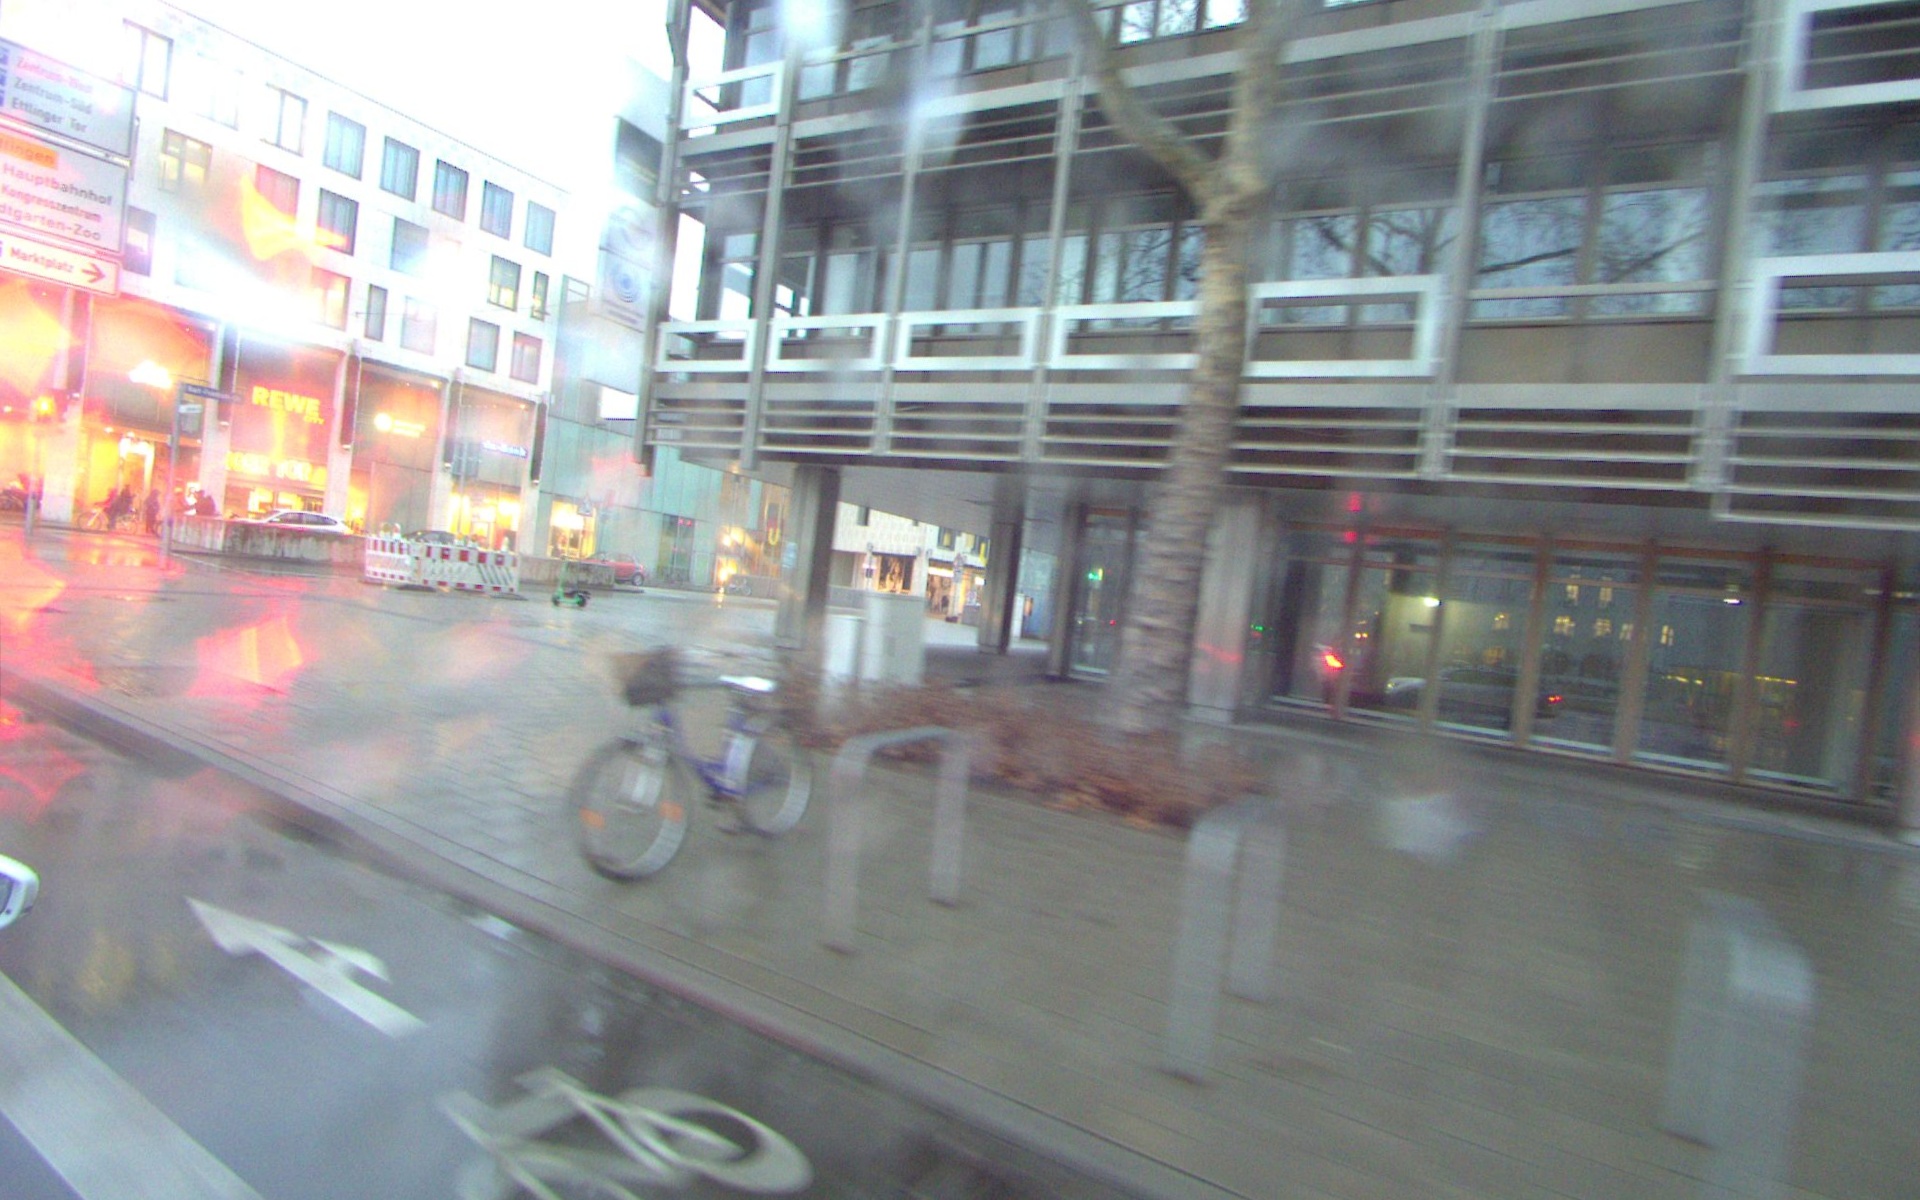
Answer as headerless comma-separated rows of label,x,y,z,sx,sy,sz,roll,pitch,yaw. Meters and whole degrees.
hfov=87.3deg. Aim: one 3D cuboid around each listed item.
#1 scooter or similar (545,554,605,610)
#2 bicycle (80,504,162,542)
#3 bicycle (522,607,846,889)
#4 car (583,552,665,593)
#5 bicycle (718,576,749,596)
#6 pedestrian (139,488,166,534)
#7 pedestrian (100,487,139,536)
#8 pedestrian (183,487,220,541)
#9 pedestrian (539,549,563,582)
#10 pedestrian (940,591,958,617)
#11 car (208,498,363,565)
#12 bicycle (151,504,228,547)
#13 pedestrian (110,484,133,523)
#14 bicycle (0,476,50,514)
scooter or similar,-8.897,-0.420,23.242,1.215,1.144,0.606,7,1,33
bicycle,-29.819,-2.716,35.797,0.532,1.003,2.133,7,-2,29
bicycle,-1.309,0.661,5.151,0.428,1.163,1.752,7,2,28
car,-16.623,-1.329,49.915,1.648,1.602,3.574,7,0,30
bicycle,-14.680,-0.881,65.096,2.102,1.046,0.616,7,1,34
pedestrian,-31.841,-3.502,39.667,0.529,1.706,0.546,6,1,-20
pedestrian,-29.823,-3.147,35.685,0.527,1.590,0.816,7,1,28
pedestrian,-24.390,-2.754,32.335,0.778,1.615,0.605,6,1,-42
pedestrian,-22.369,-1.870,55.034,0.698,1.650,0.795,7,-1,32
pedestrian,-0.948,0.323,85.804,1.006,2.037,0.906,7,-1,32
car,-24.647,-2.473,36.905,1.680,1.783,4.304,8,0,35
bicycle,-24.614,-2.368,32.175,1.839,1.107,0.610,7,1,-43
pedestrian,-39.569,-4.535,47.476,0.529,1.739,0.500,6,1,-20
bicycle,-39.708,-4.444,41.994,0.623,1.345,2.430,8,0,27
